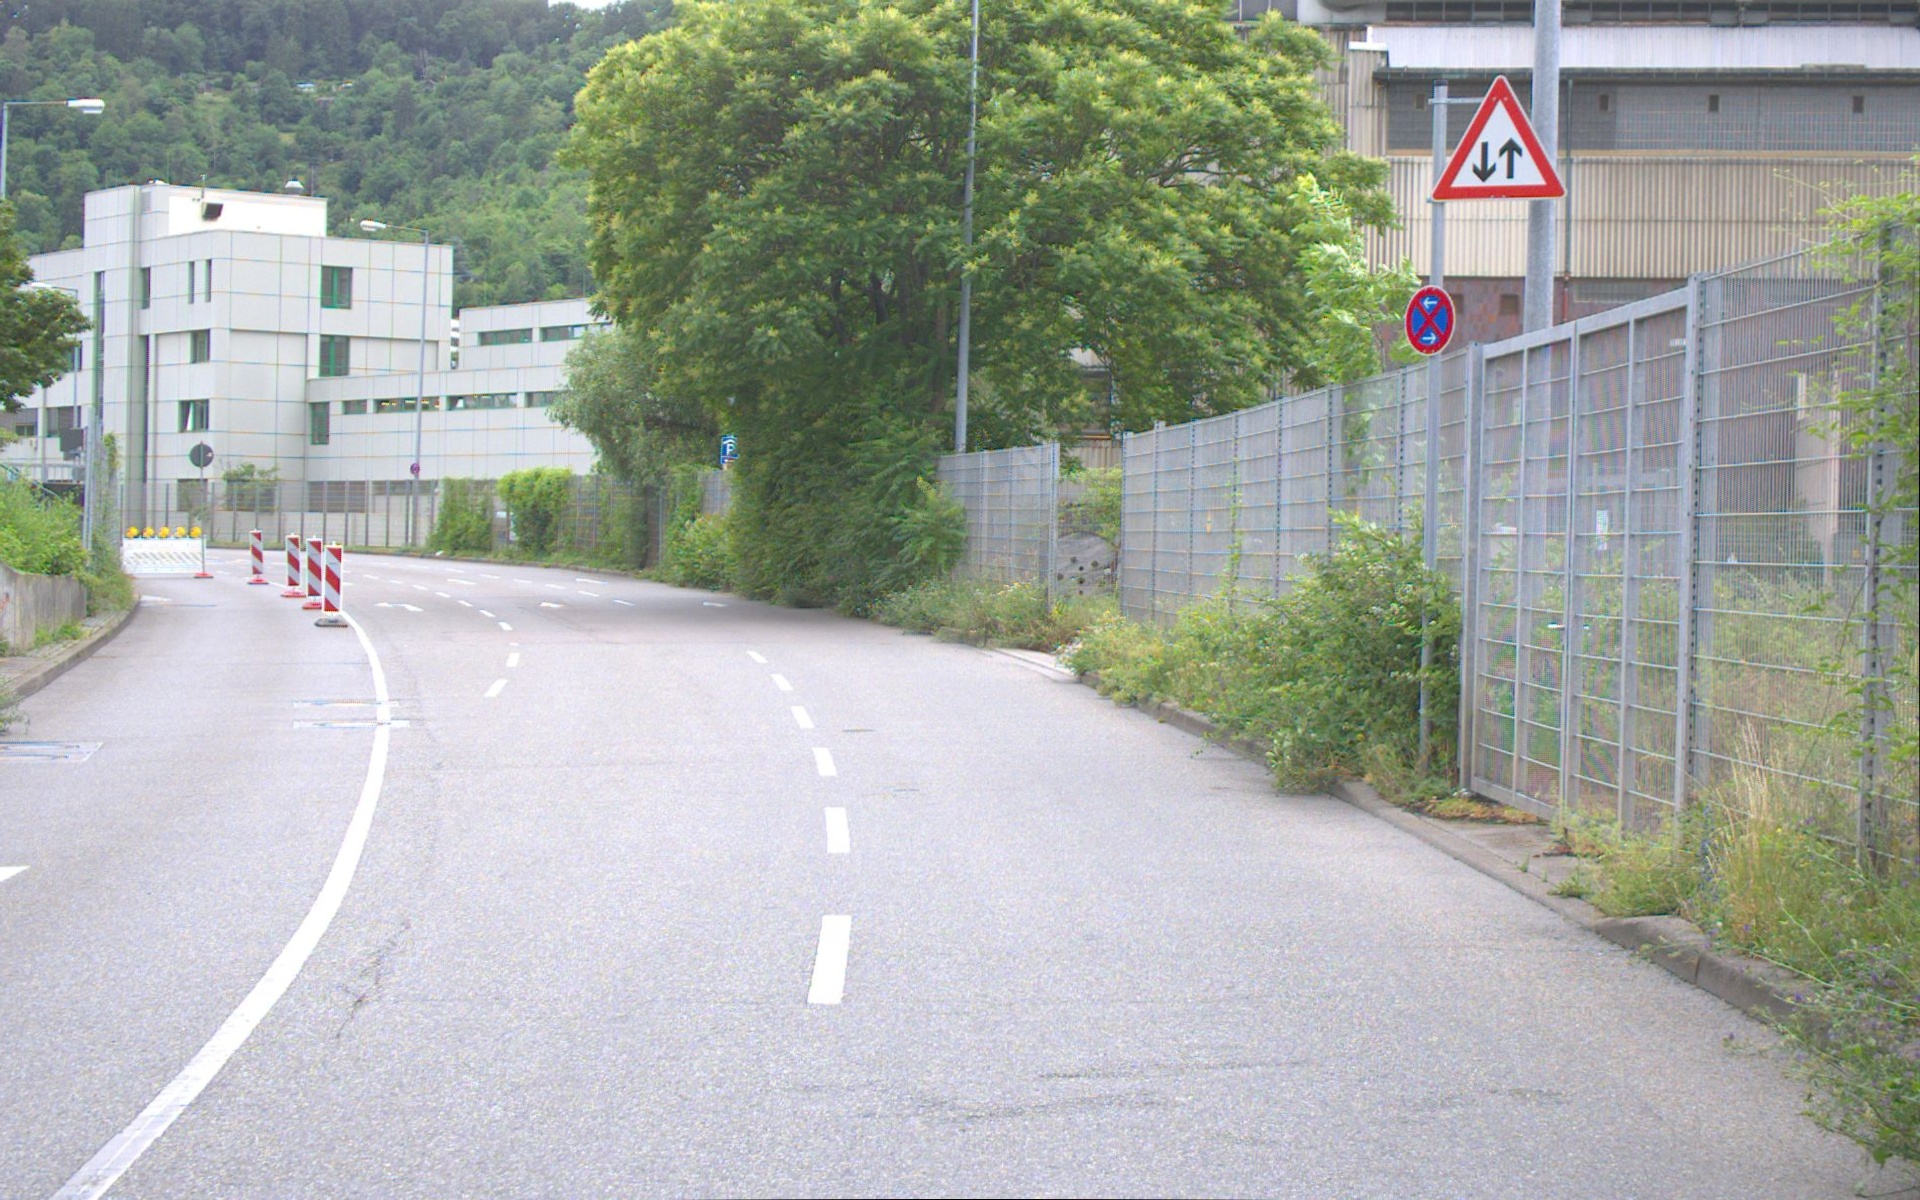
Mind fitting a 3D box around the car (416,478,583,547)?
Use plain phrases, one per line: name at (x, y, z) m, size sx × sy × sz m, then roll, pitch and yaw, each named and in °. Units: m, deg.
car at (-16.808, -3.200, 125.311) m, size 6.162 × 2.255 × 1.996 m, roll 3°, pitch 1°, yaw 34°
